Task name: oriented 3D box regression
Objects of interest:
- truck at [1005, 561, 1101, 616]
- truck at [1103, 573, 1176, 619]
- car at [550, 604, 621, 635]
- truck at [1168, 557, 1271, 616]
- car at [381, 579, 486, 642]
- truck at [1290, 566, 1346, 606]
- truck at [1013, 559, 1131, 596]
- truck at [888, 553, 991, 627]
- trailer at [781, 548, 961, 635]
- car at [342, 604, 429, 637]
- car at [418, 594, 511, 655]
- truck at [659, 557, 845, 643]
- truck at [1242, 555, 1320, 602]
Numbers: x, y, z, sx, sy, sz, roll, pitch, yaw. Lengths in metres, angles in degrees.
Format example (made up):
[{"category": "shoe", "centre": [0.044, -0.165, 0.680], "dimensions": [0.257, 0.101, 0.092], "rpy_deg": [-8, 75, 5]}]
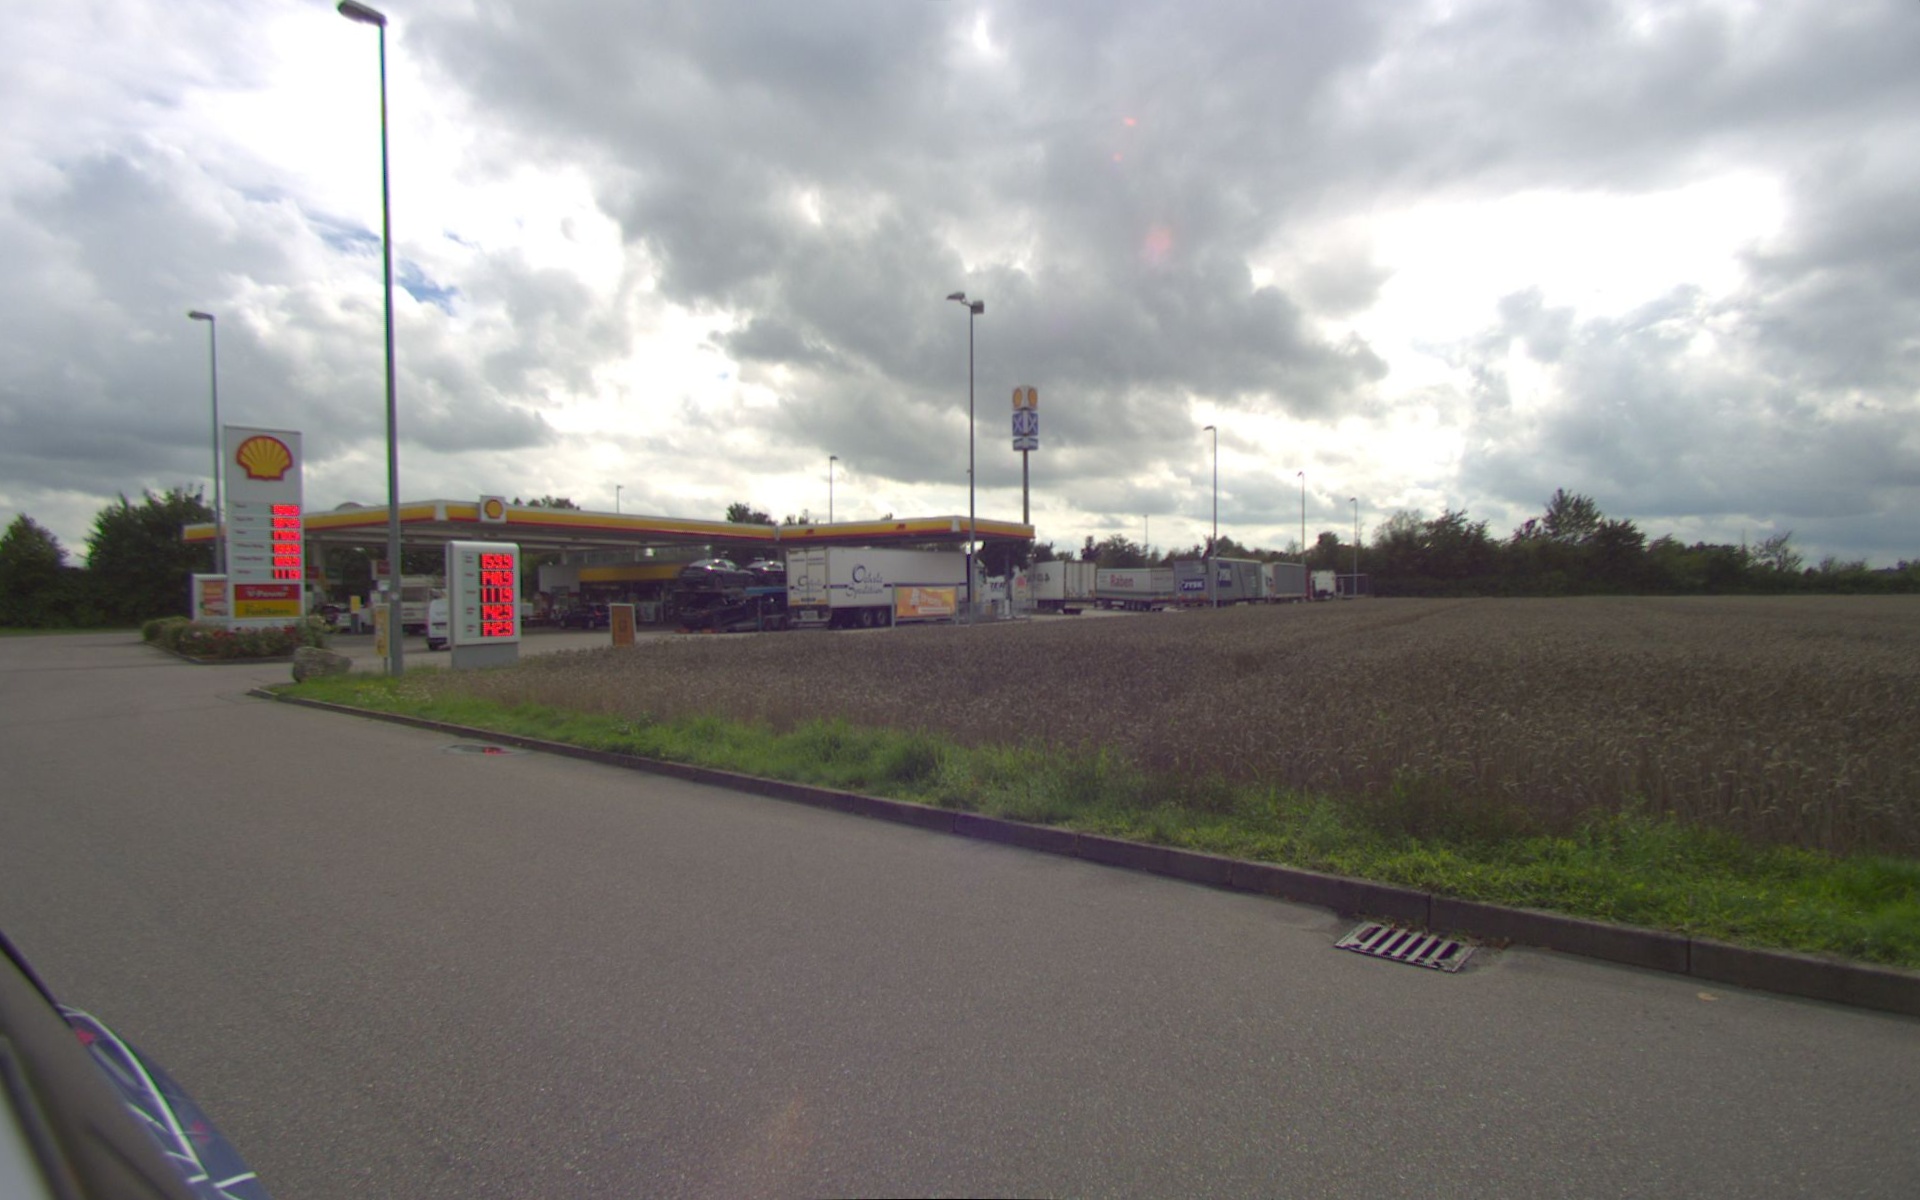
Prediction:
[{"category": "truck", "centre": [7.231, -0.893, 82.527], "dimensions": [2.913, 4.143, 14.790], "rpy_deg": [0, 0, -15]}, {"category": "truck", "centre": [17.263, -0.334, 98.285], "dimensions": [2.945, 4.142, 11.600], "rpy_deg": [-1, 0, -11]}, {"category": "car", "centre": [-21.158, 1.097, 57.168], "dimensions": [3.742, 1.613, 1.701], "rpy_deg": [-2, 0, 27]}, {"category": "truck", "centre": [19.539, -0.981, 75.008], "dimensions": [2.816, 3.923, 15.290], "rpy_deg": [0, 0, 33]}, {"category": "car", "centre": [-25.319, 0.477, 48.974], "dimensions": [2.192, 2.808, 5.810], "rpy_deg": [-1, 0, -2]}, {"category": "truck", "centre": [37.826, -1.449, 106.558], "dimensions": [2.816, 3.923, 12.667], "rpy_deg": [0, 0, 33]}, {"category": "truck", "centre": [12.467, -2.491, 112.351], "dimensions": [12.796, 3.923, 2.832], "rpy_deg": [0, 0, -13]}, {"category": "truck", "centre": [-1.101, -0.575, 59.695], "dimensions": [2.702, 4.055, 7.095], "rpy_deg": [-2, 0, 30]}, {"category": "trailer", "centre": [-4.335, -0.429, 53.994], "dimensions": [2.702, 4.055, 12.716], "rpy_deg": [-2, 0, 30]}, {"category": "car", "centre": [-28.694, 0.991, 50.675], "dimensions": [1.974, 1.571, 3.957], "rpy_deg": [-2, 0, 3]}, {"category": "car", "centre": [-17.794, 0.873, 36.513], "dimensions": [1.769, 2.027, 3.886], "rpy_deg": [-1, -1, -6]}, {"category": "truck", "centre": [-10.433, -0.046, 53.313], "dimensions": [2.734, 3.953, 13.159], "rpy_deg": [0, 0, 22]}, {"category": "truck", "centre": [29.083, -1.833, 91.026], "dimensions": [2.816, 3.923, 15.290], "rpy_deg": [0, 0, 33]}]
